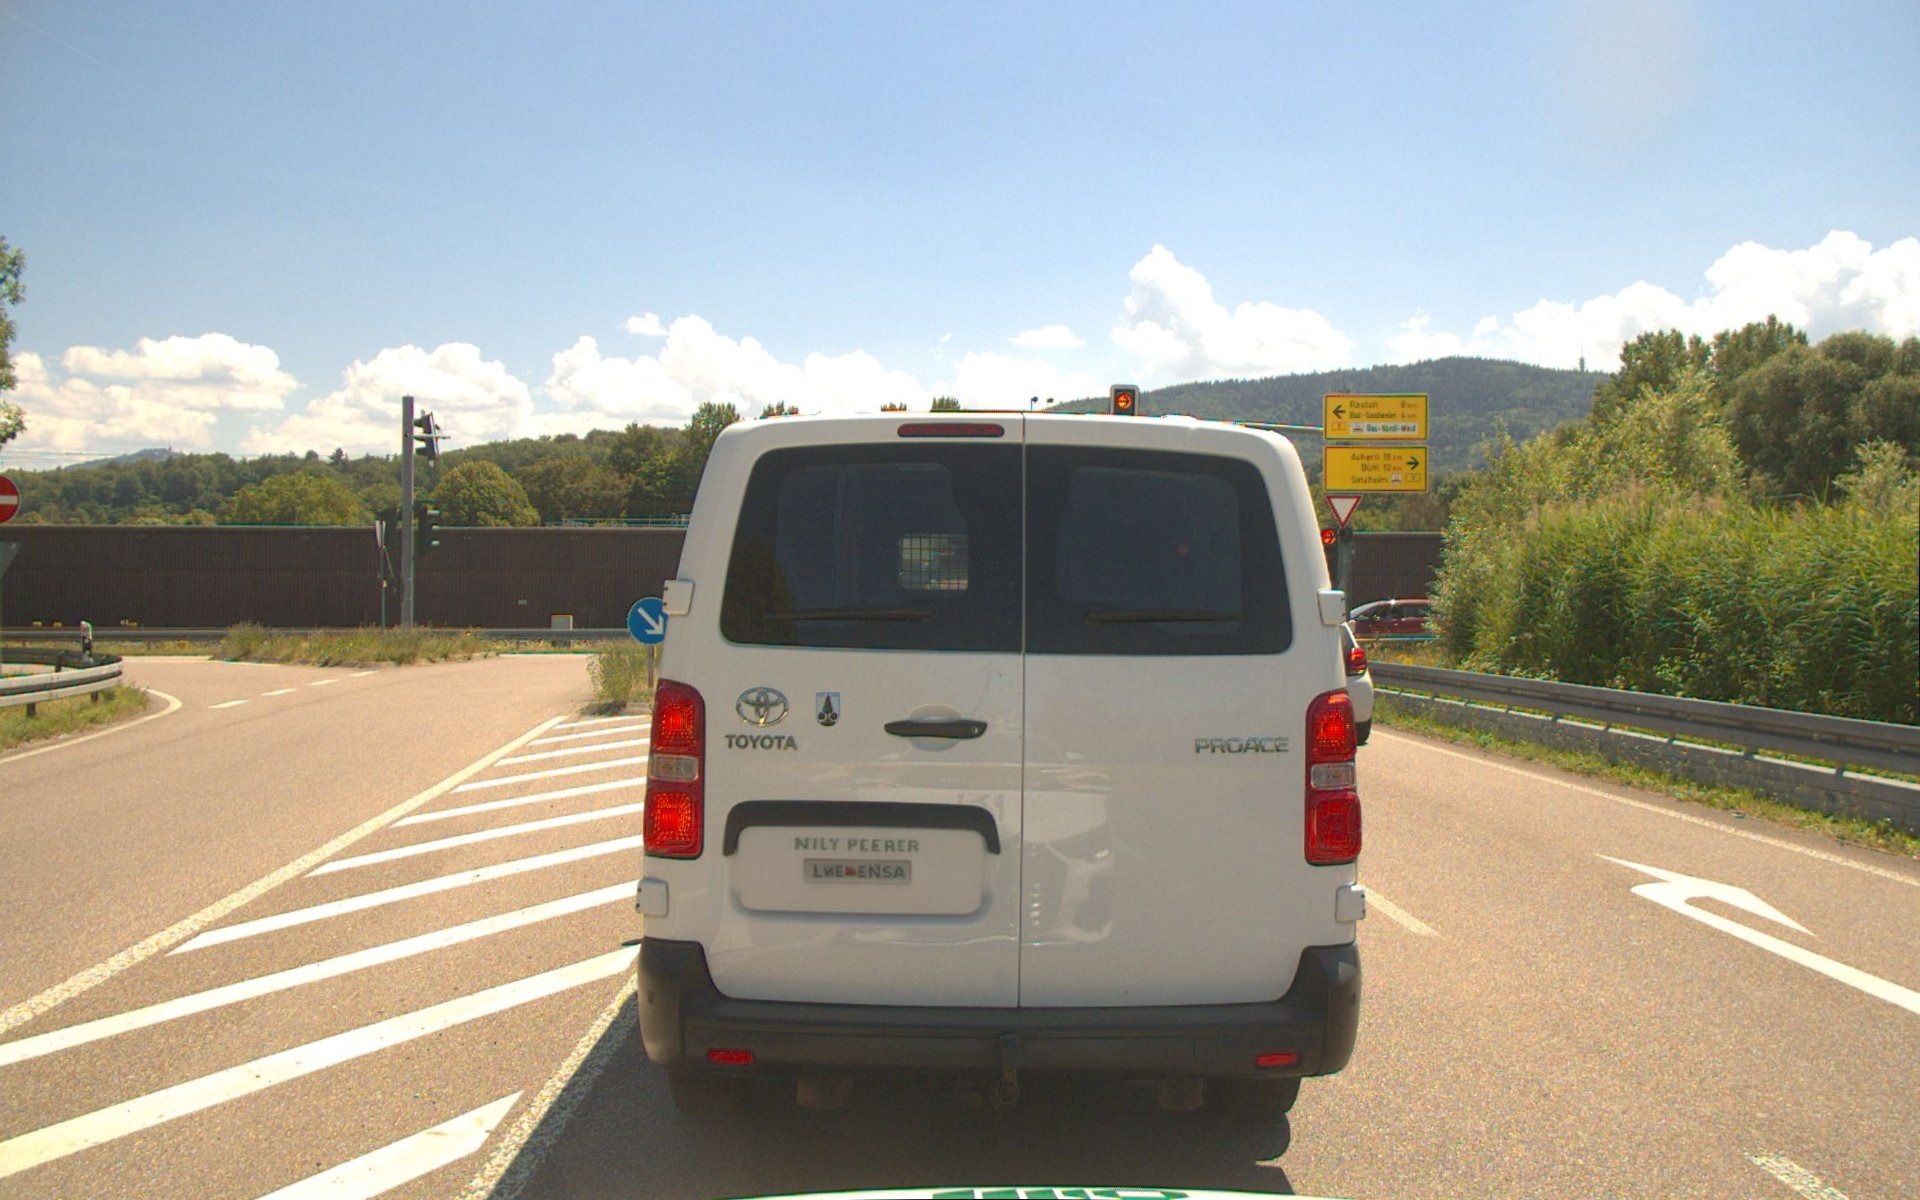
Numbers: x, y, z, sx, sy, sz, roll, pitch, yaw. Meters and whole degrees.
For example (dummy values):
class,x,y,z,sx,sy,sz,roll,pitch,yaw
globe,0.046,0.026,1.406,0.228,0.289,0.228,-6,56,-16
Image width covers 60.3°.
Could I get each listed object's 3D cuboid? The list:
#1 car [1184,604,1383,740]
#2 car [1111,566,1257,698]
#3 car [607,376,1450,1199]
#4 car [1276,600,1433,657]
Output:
class,x,y,z,sx,sy,sz,roll,pitch,yaw
car,3.749,0.784,19.649,1.622,1.456,3.364,1,0,-1
car,3.714,0.504,28.263,1.889,2.035,4.838,1,0,1
car,0.115,0.487,5.665,1.848,1.919,3.999,1,0,-1
car,11.892,0.846,50.006,4.225,1.685,1.998,0,0,-4
